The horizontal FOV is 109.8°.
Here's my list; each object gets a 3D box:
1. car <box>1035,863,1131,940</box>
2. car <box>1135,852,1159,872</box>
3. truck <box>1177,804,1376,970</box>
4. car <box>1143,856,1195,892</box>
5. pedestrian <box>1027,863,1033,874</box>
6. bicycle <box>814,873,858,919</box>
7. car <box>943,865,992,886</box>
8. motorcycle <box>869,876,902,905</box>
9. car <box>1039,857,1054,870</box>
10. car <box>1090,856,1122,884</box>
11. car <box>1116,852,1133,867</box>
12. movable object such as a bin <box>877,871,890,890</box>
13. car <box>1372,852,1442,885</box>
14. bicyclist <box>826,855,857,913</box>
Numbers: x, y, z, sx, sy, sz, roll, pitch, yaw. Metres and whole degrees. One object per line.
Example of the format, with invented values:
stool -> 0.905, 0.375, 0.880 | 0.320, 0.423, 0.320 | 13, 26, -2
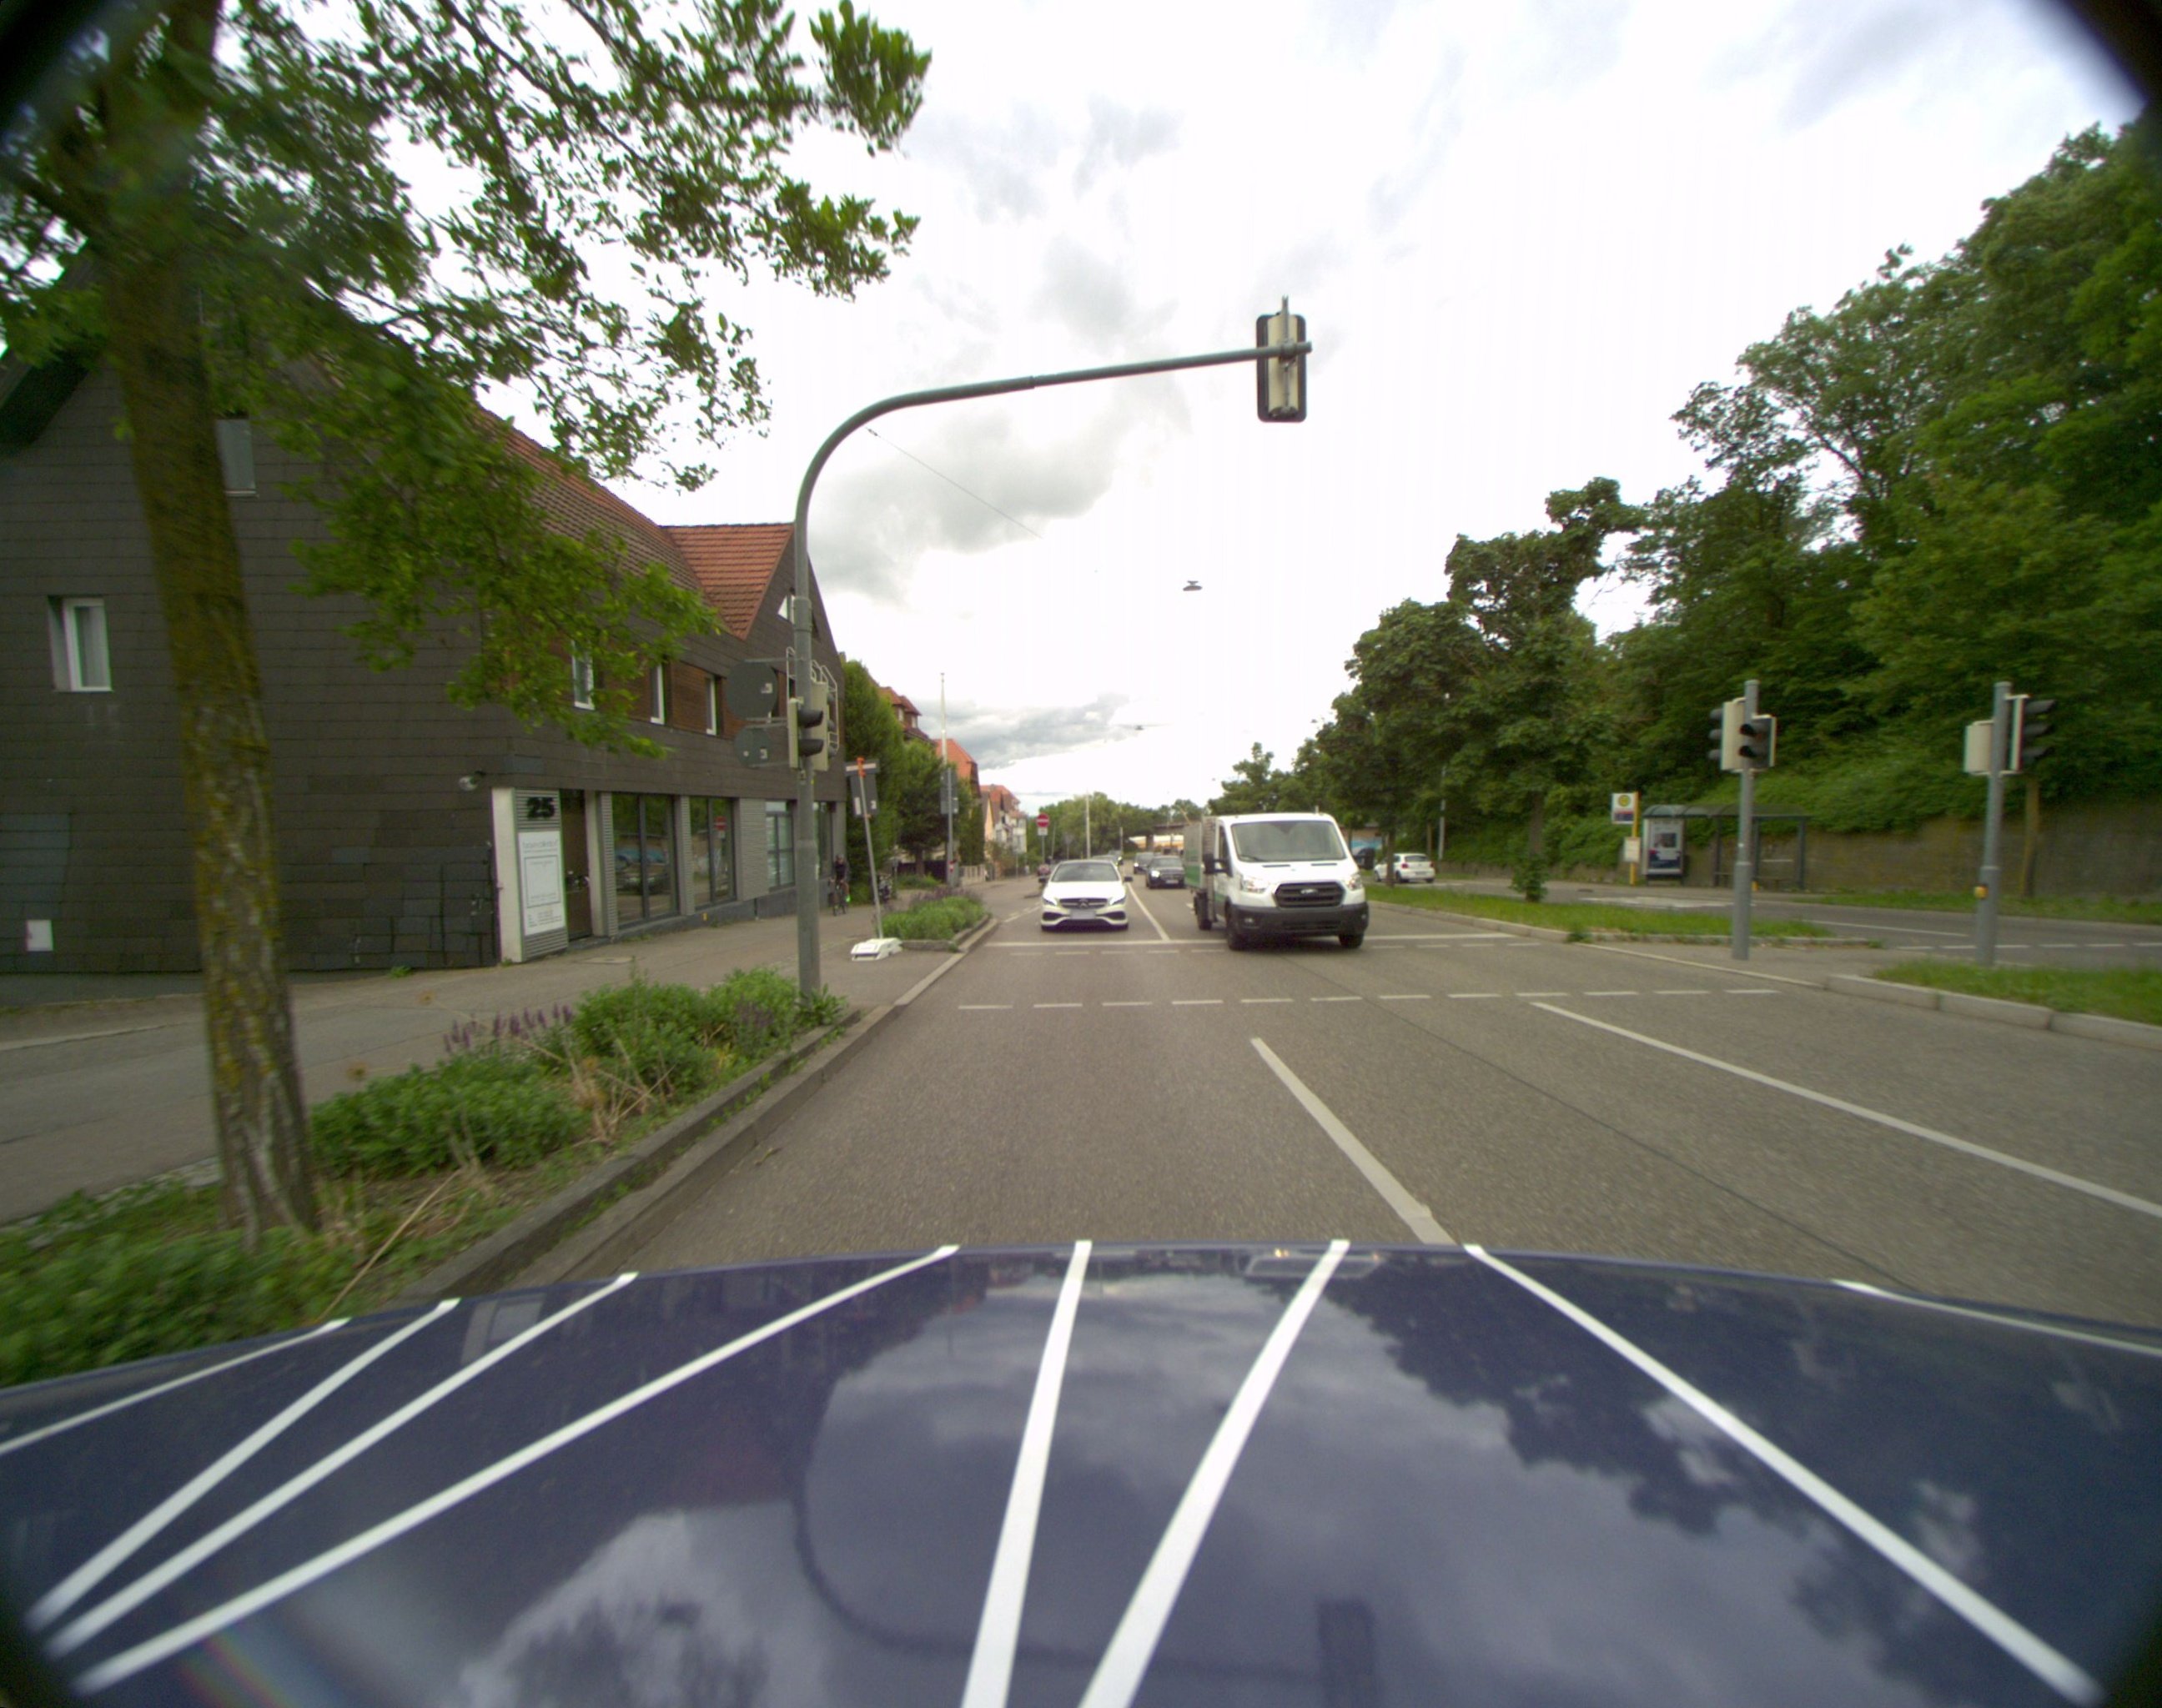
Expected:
car -> 0.147, 0.943, 16.549 | 1.817, 1.390, 4.001 | -1, 0, 3
car -> 5.125, 0.615, 59.585 | 1.777, 1.520, 4.001 | 0, 0, 3
truck -> 3.132, 0.430, 13.786 | 2.080, 2.308, 6.331 | -1, 1, 1
car -> 3.942, 0.876, 34.767 | 1.915, 1.472, 4.401 | -2, 0, 1
pedestrian -> -6.767, 1.966, 101.620 | 0.713, 1.462, 0.695 | -2, 0, 0
bicycle -> -7.039, 1.177, 21.898 | 0.572, 1.254, 2.039 | 0, -1, 1
car -> -9.613, 1.810, 64.475 | 3.799, 1.396, 1.544 | -6, 1, -17
motorcycle -> -7.601, 1.394, 29.625 | 0.697, 1.045, 1.967 | 0, 0, 3
car -> -4.900, 1.308, 107.891 | 1.923, 1.641, 4.000 | -2, 0, 0
car -> 1.499, 0.896, 45.032 | 1.777, 1.532, 4.001 | -2, 0, 3
car -> 5.443, 0.704, 94.579 | 1.776, 1.783, 4.003 | 0, 0, 8
movable object such as a bin -> -10.410, 1.383, 40.068 | 0.453, 0.934, 0.561 | 3, 0, 1
car -> 15.905, 0.676, 37.240 | 1.733, 1.420, 3.789 | -2, 1, -1
bicyclist -> -6.888, 0.855, 21.860 | 0.539, 1.623, 0.947 | -1, 0, 1
